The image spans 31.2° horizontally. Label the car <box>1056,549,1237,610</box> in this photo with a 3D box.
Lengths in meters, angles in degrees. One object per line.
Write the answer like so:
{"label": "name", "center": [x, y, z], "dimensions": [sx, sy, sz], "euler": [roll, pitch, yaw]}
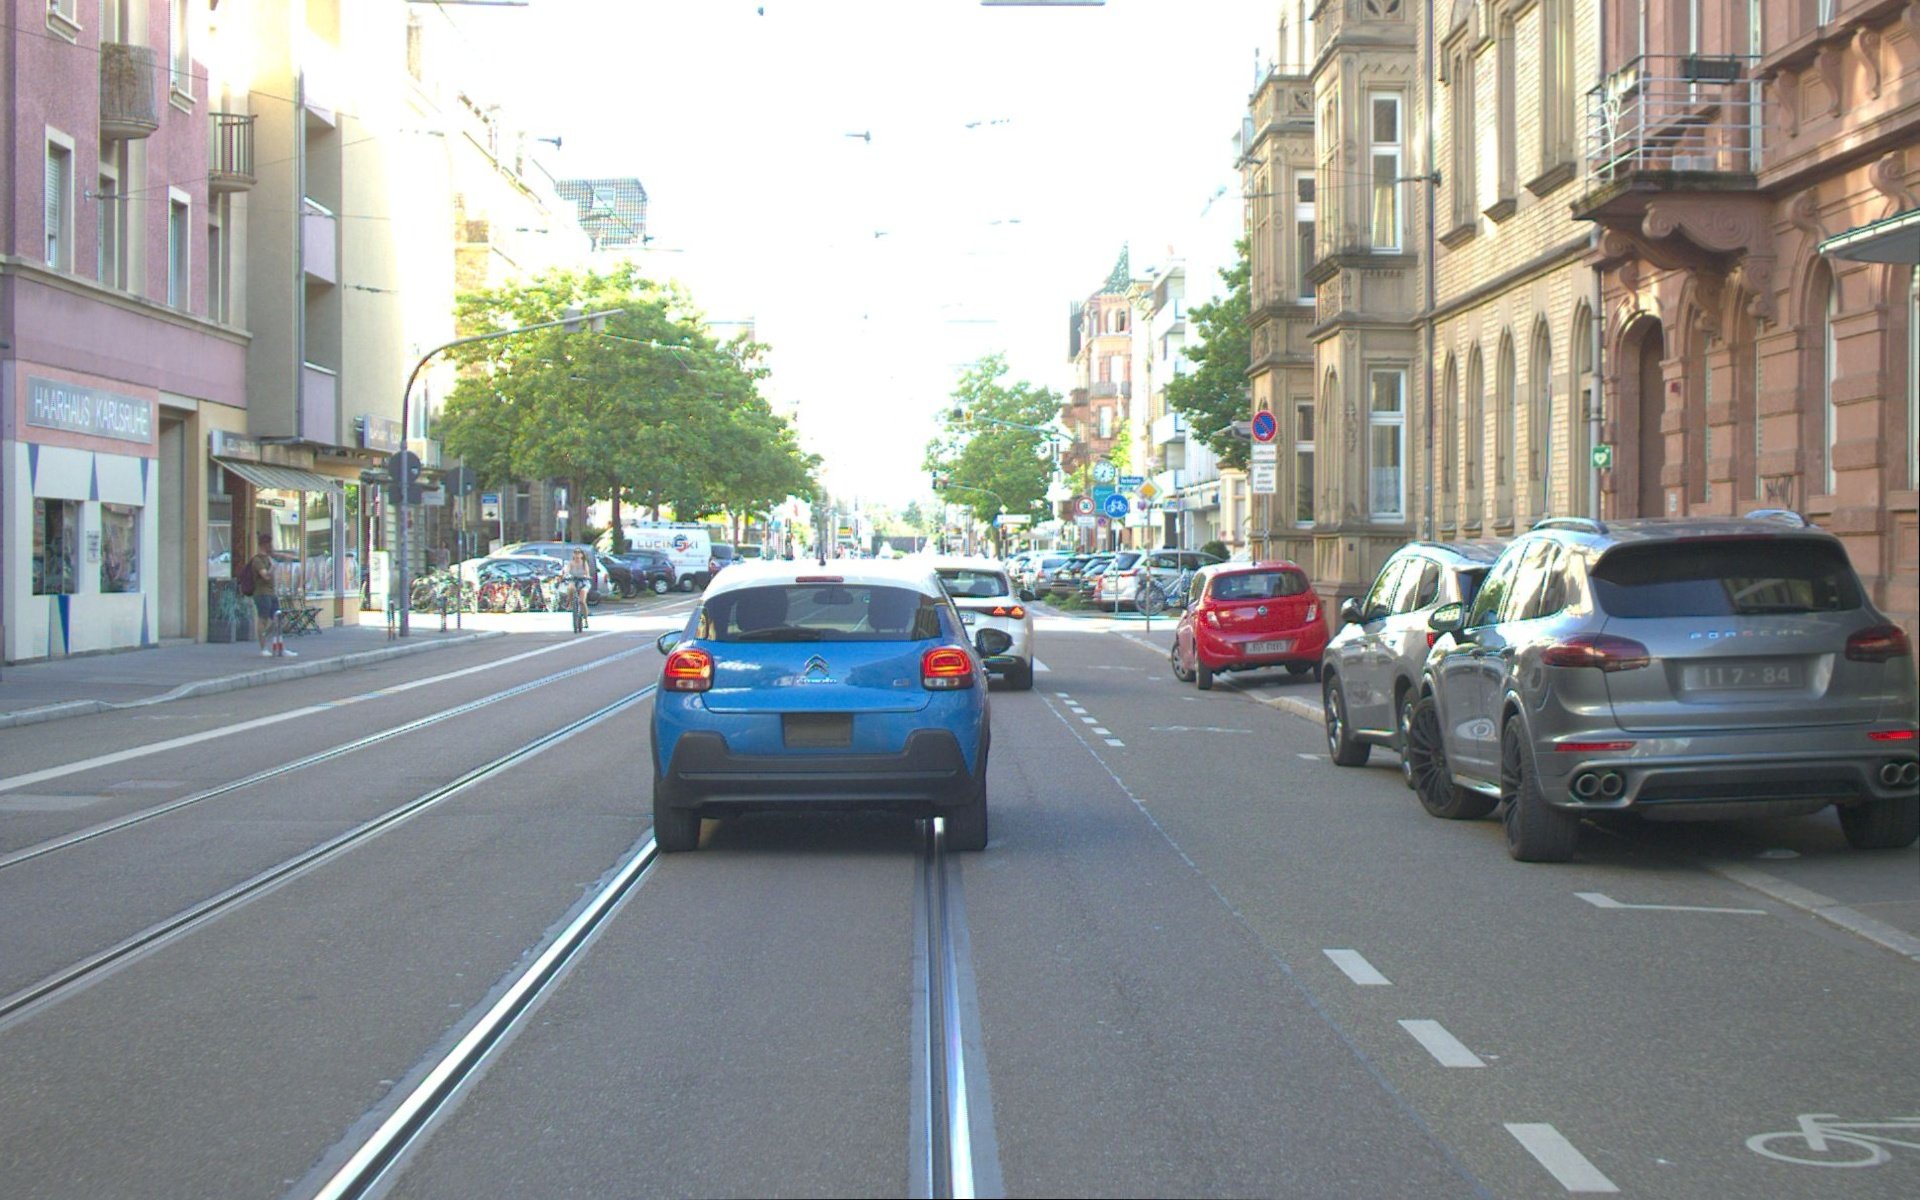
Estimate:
{"label": "car", "center": [5.063, -0.555, 93.495], "dimensions": [4.433, 1.590, 2.089], "euler": [1, 0, -25]}

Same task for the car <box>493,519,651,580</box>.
{"label": "car", "center": [-11.864, -1.533, 105.105], "dimensions": [4.352, 1.777, 1.996], "euler": [1, 0, -33]}

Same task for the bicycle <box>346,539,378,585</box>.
{"label": "bicycle", "center": [-14.440, -0.914, 83.018], "dimensions": [0.403, 1.106, 1.838], "euler": [0, 0, -22]}

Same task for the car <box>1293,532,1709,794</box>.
{"label": "car", "center": [3.659, 0.386, 24.067], "dimensions": [1.865, 1.641, 4.402], "euler": [1, 0, -5]}

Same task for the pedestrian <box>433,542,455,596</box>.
{"label": "pedestrian", "center": [-16.053, -0.965, 106.903], "dimensions": [0.569, 1.647, 0.641], "euler": [1, 0, 0]}

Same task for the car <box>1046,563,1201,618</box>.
{"label": "car", "center": [5.042, -0.293, 105.963], "dimensions": [4.302, 1.590, 1.983], "euler": [1, 0, -25]}

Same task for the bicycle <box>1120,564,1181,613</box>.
{"label": "bicycle", "center": [4.542, -0.274, 82.137], "dimensions": [1.397, 1.123, 0.551], "euler": [1, 0, -1]}

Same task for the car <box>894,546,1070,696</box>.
{"label": "car", "center": [0.229, 0.211, 39.180], "dimensions": [1.873, 1.590, 4.000], "euler": [1, 0, 0]}

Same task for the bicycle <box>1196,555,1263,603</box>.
{"label": "bicycle", "center": [6.428, -0.505, 81.964], "dimensions": [1.556, 1.123, 0.551], "euler": [1, 0, 6]}

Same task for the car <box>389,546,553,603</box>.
{"label": "car", "center": [-12.611, -0.650, 88.659], "dimensions": [3.779, 1.395, 1.755], "euler": [1, 0, -33]}

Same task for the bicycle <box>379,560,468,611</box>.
{"label": "bicycle", "center": [-12.896, -0.366, 82.607], "dimensions": [2.433, 1.105, 0.682], "euler": [3, 4, 40]}

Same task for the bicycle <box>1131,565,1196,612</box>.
{"label": "bicycle", "center": [4.991, -0.287, 84.463], "dimensions": [1.560, 1.123, 0.294], "euler": [1, 0, 6]}

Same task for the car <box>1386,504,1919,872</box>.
{"label": "car", "center": [3.622, 0.383, 18.208], "dimensions": [1.993, 1.610, 4.786], "euler": [-3, 0, -1]}

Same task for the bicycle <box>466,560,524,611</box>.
{"label": "bicycle", "center": [-11.251, -0.359, 83.163], "dimensions": [0.681, 1.119, 1.888], "euler": [-1, 3, -31]}

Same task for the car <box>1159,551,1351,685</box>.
{"label": "car", "center": [3.585, 0.194, 42.435], "dimensions": [1.865, 1.478, 4.401], "euler": [-3, 0, -1]}

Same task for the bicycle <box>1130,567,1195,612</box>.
{"label": "bicycle", "center": [4.957, -0.262, 84.114], "dimensions": [1.556, 1.075, 0.307], "euler": [1, 0, 6]}

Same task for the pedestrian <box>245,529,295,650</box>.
{"label": "pedestrian", "center": [-9.691, -0.148, 48.311], "dimensions": [0.563, 1.680, 0.616], "euler": [1, 0, -2]}

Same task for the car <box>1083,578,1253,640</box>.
{"label": "car", "center": [5.471, 0.238, 90.413], "dimensions": [3.986, 1.531, 1.919], "euler": [1, 0, -25]}

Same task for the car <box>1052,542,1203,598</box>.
{"label": "car", "center": [5.037, -0.894, 103.363], "dimensions": [3.986, 1.590, 2.088], "euler": [1, 0, -25]}

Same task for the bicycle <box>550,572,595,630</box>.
{"label": "bicycle", "center": [-7.572, 0.006, 67.245], "dimensions": [0.602, 1.092, 2.044], "euler": [-2, 0, 0]}

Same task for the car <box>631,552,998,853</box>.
{"label": "car", "center": [-0.733, 0.486, 18.491], "dimensions": [1.762, 1.436, 3.557], "euler": [1, 0, -1]}

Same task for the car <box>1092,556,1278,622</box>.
{"label": "car", "center": [5.752, -0.276, 87.744], "dimensions": [4.350, 1.590, 1.854], "euler": [1, 0, -25]}

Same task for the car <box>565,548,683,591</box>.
{"label": "car", "center": [-12.221, -1.126, 125.043], "dimensions": [3.986, 1.484, 1.807], "euler": [1, 0, -17]}

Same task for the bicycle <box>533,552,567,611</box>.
{"label": "bicycle", "center": [-9.858, -0.457, 82.682], "dimensions": [0.681, 1.315, 2.436], "euler": [1, 3, -5]}

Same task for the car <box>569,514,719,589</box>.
{"label": "car", "center": [-12.032, -1.836, 130.998], "dimensions": [5.370, 2.739, 1.806], "euler": [1, 0, -30]}

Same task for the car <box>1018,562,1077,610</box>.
{"label": "car", "center": [3.010, -0.485, 118.490], "dimensions": [1.873, 1.590, 4.719], "euler": [1, 0, 0]}

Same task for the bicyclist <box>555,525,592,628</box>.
{"label": "bicyclist", "center": [-7.567, -0.457, 67.360], "dimensions": [0.612, 2.007, 0.734], "euler": [1, 0, 0]}
